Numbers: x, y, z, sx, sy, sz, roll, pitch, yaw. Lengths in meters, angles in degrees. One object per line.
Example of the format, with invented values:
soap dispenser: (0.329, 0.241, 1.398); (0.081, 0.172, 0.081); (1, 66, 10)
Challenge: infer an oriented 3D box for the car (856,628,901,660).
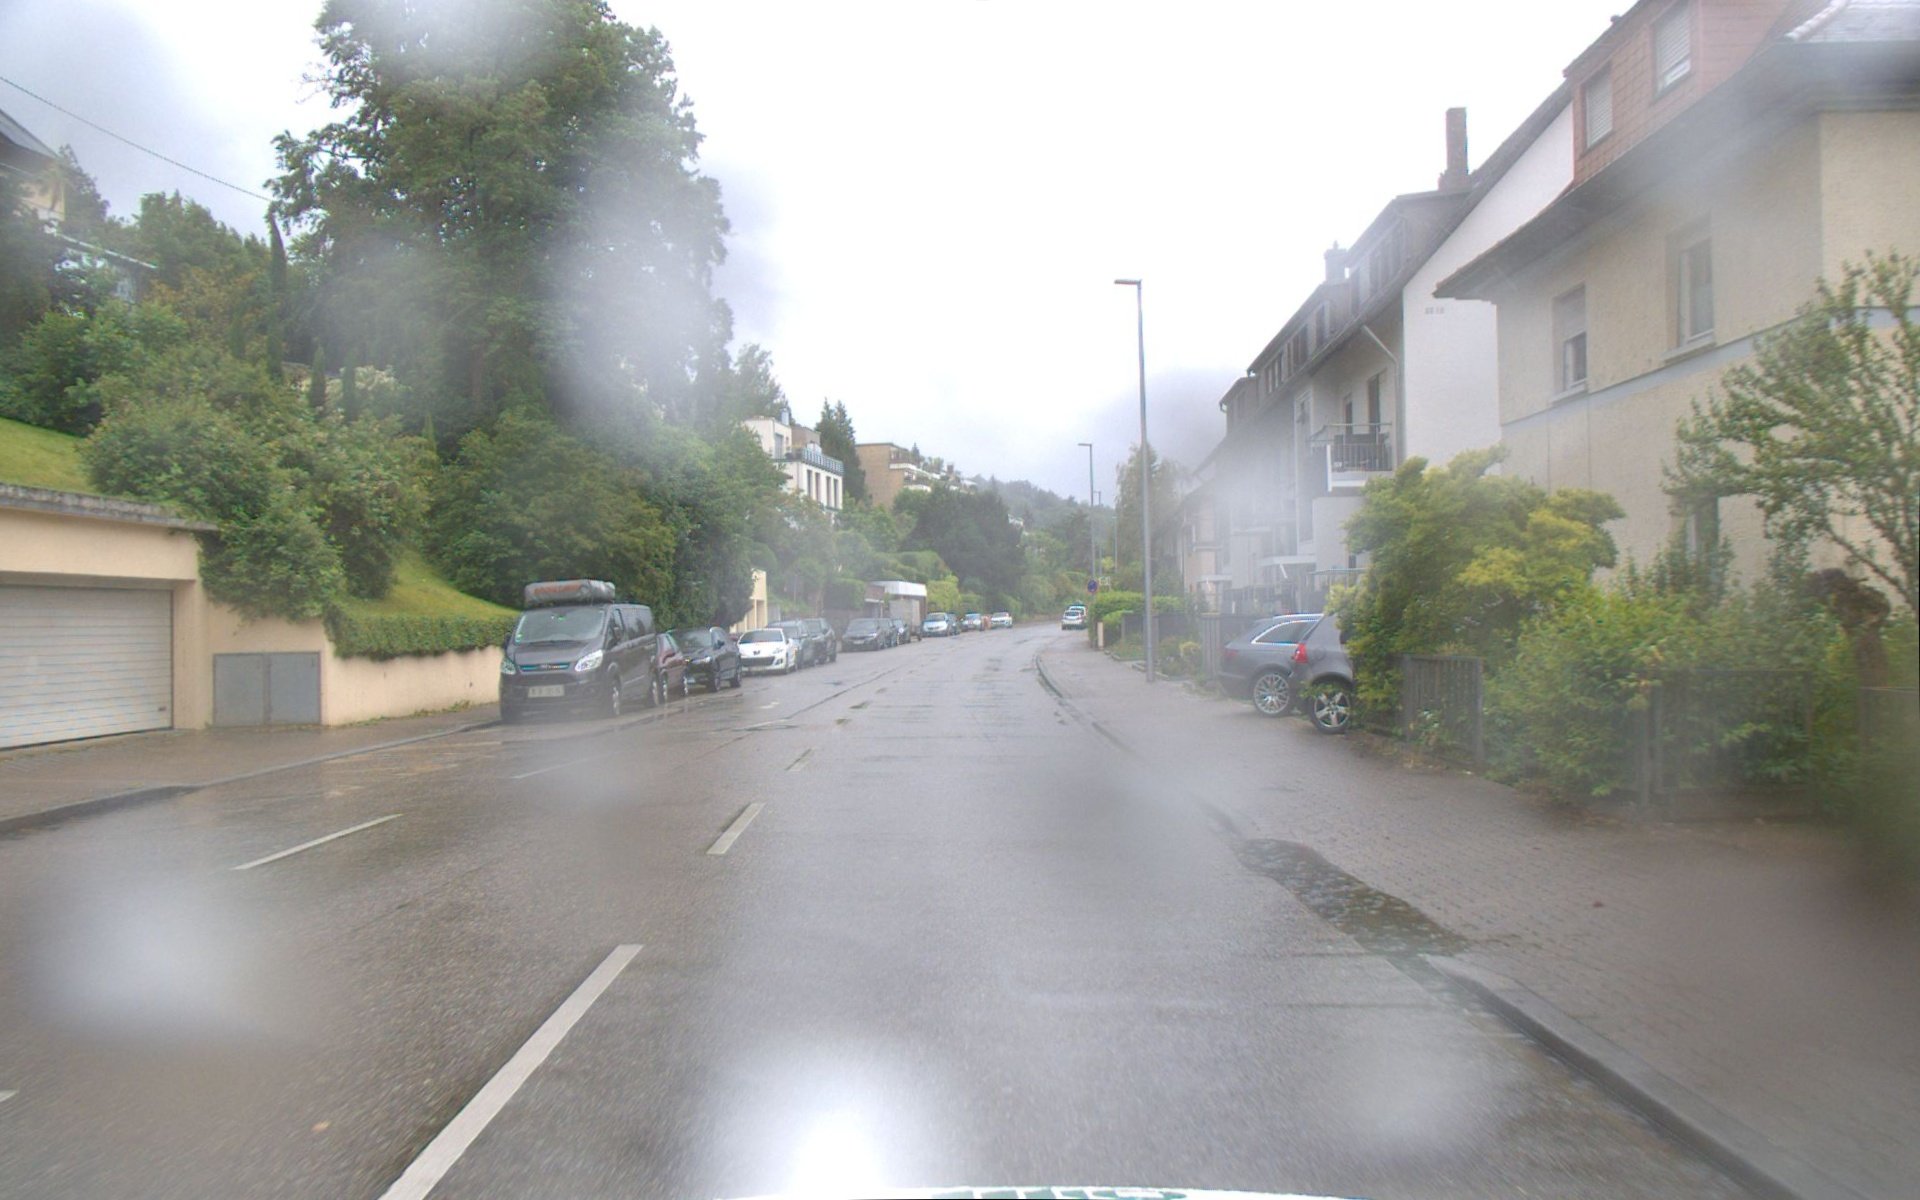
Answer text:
car: (-4.175, 2.256, 85.081); (1.748, 1.440, 4.219); (-3, 0, 4)

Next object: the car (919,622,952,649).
car: (-1.638, 2.376, 111.620); (1.719, 1.566, 3.759); (-5, 0, 5)

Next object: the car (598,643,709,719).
car: (-6.451, 1.671, 35.124); (1.532, 1.388, 3.907); (-4, -1, 0)

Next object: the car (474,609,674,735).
car: (-6.740, 1.211, 29.539); (2.114, 1.952, 5.324); (-3, -1, 1)

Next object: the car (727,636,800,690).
car: (-6.024, 1.926, 51.197); (1.681, 1.389, 4.083); (-4, 0, 0)

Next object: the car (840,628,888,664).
car: (-4.570, 2.189, 79.257); (1.748, 1.480, 4.757); (-4, 0, 3)

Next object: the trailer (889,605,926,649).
trailer: (-3.070, 1.590, 97.365); (1.504, 2.441, 3.075); (-4, -1, 8)

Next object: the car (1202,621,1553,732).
car: (5.696, 1.039, 22.749); (4.292, 1.388, 1.913); (-2, -2, 34)

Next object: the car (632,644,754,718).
car: (-6.369, 1.904, 40.003); (1.869, 1.506, 4.756); (-5, -1, 3)

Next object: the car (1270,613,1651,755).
car: (5.826, 0.954, 19.405); (3.917, 1.482, 1.766); (-2, -1, 34)

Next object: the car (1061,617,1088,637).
car: (9.300, 2.175, 133.903); (1.751, 1.485, 4.312); (-2, -1, 9)

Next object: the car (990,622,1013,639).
car: (3.889, 2.808, 153.379); (1.719, 1.524, 4.223); (-3, -1, 6)

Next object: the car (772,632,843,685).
car: (-5.595, 2.134, 61.310); (1.835, 1.654, 4.595); (-5, 0, 3)

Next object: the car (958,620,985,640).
car: (0.968, 2.419, 134.411); (1.719, 1.427, 3.772); (-4, -1, 6)

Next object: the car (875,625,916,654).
car: (-3.566, 2.175, 91.746); (1.770, 1.373, 3.778); (-3, 0, 4)

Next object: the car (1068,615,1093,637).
car: (10.213, 2.199, 139.821); (1.746, 1.822, 4.364); (-2, -1, 9)
